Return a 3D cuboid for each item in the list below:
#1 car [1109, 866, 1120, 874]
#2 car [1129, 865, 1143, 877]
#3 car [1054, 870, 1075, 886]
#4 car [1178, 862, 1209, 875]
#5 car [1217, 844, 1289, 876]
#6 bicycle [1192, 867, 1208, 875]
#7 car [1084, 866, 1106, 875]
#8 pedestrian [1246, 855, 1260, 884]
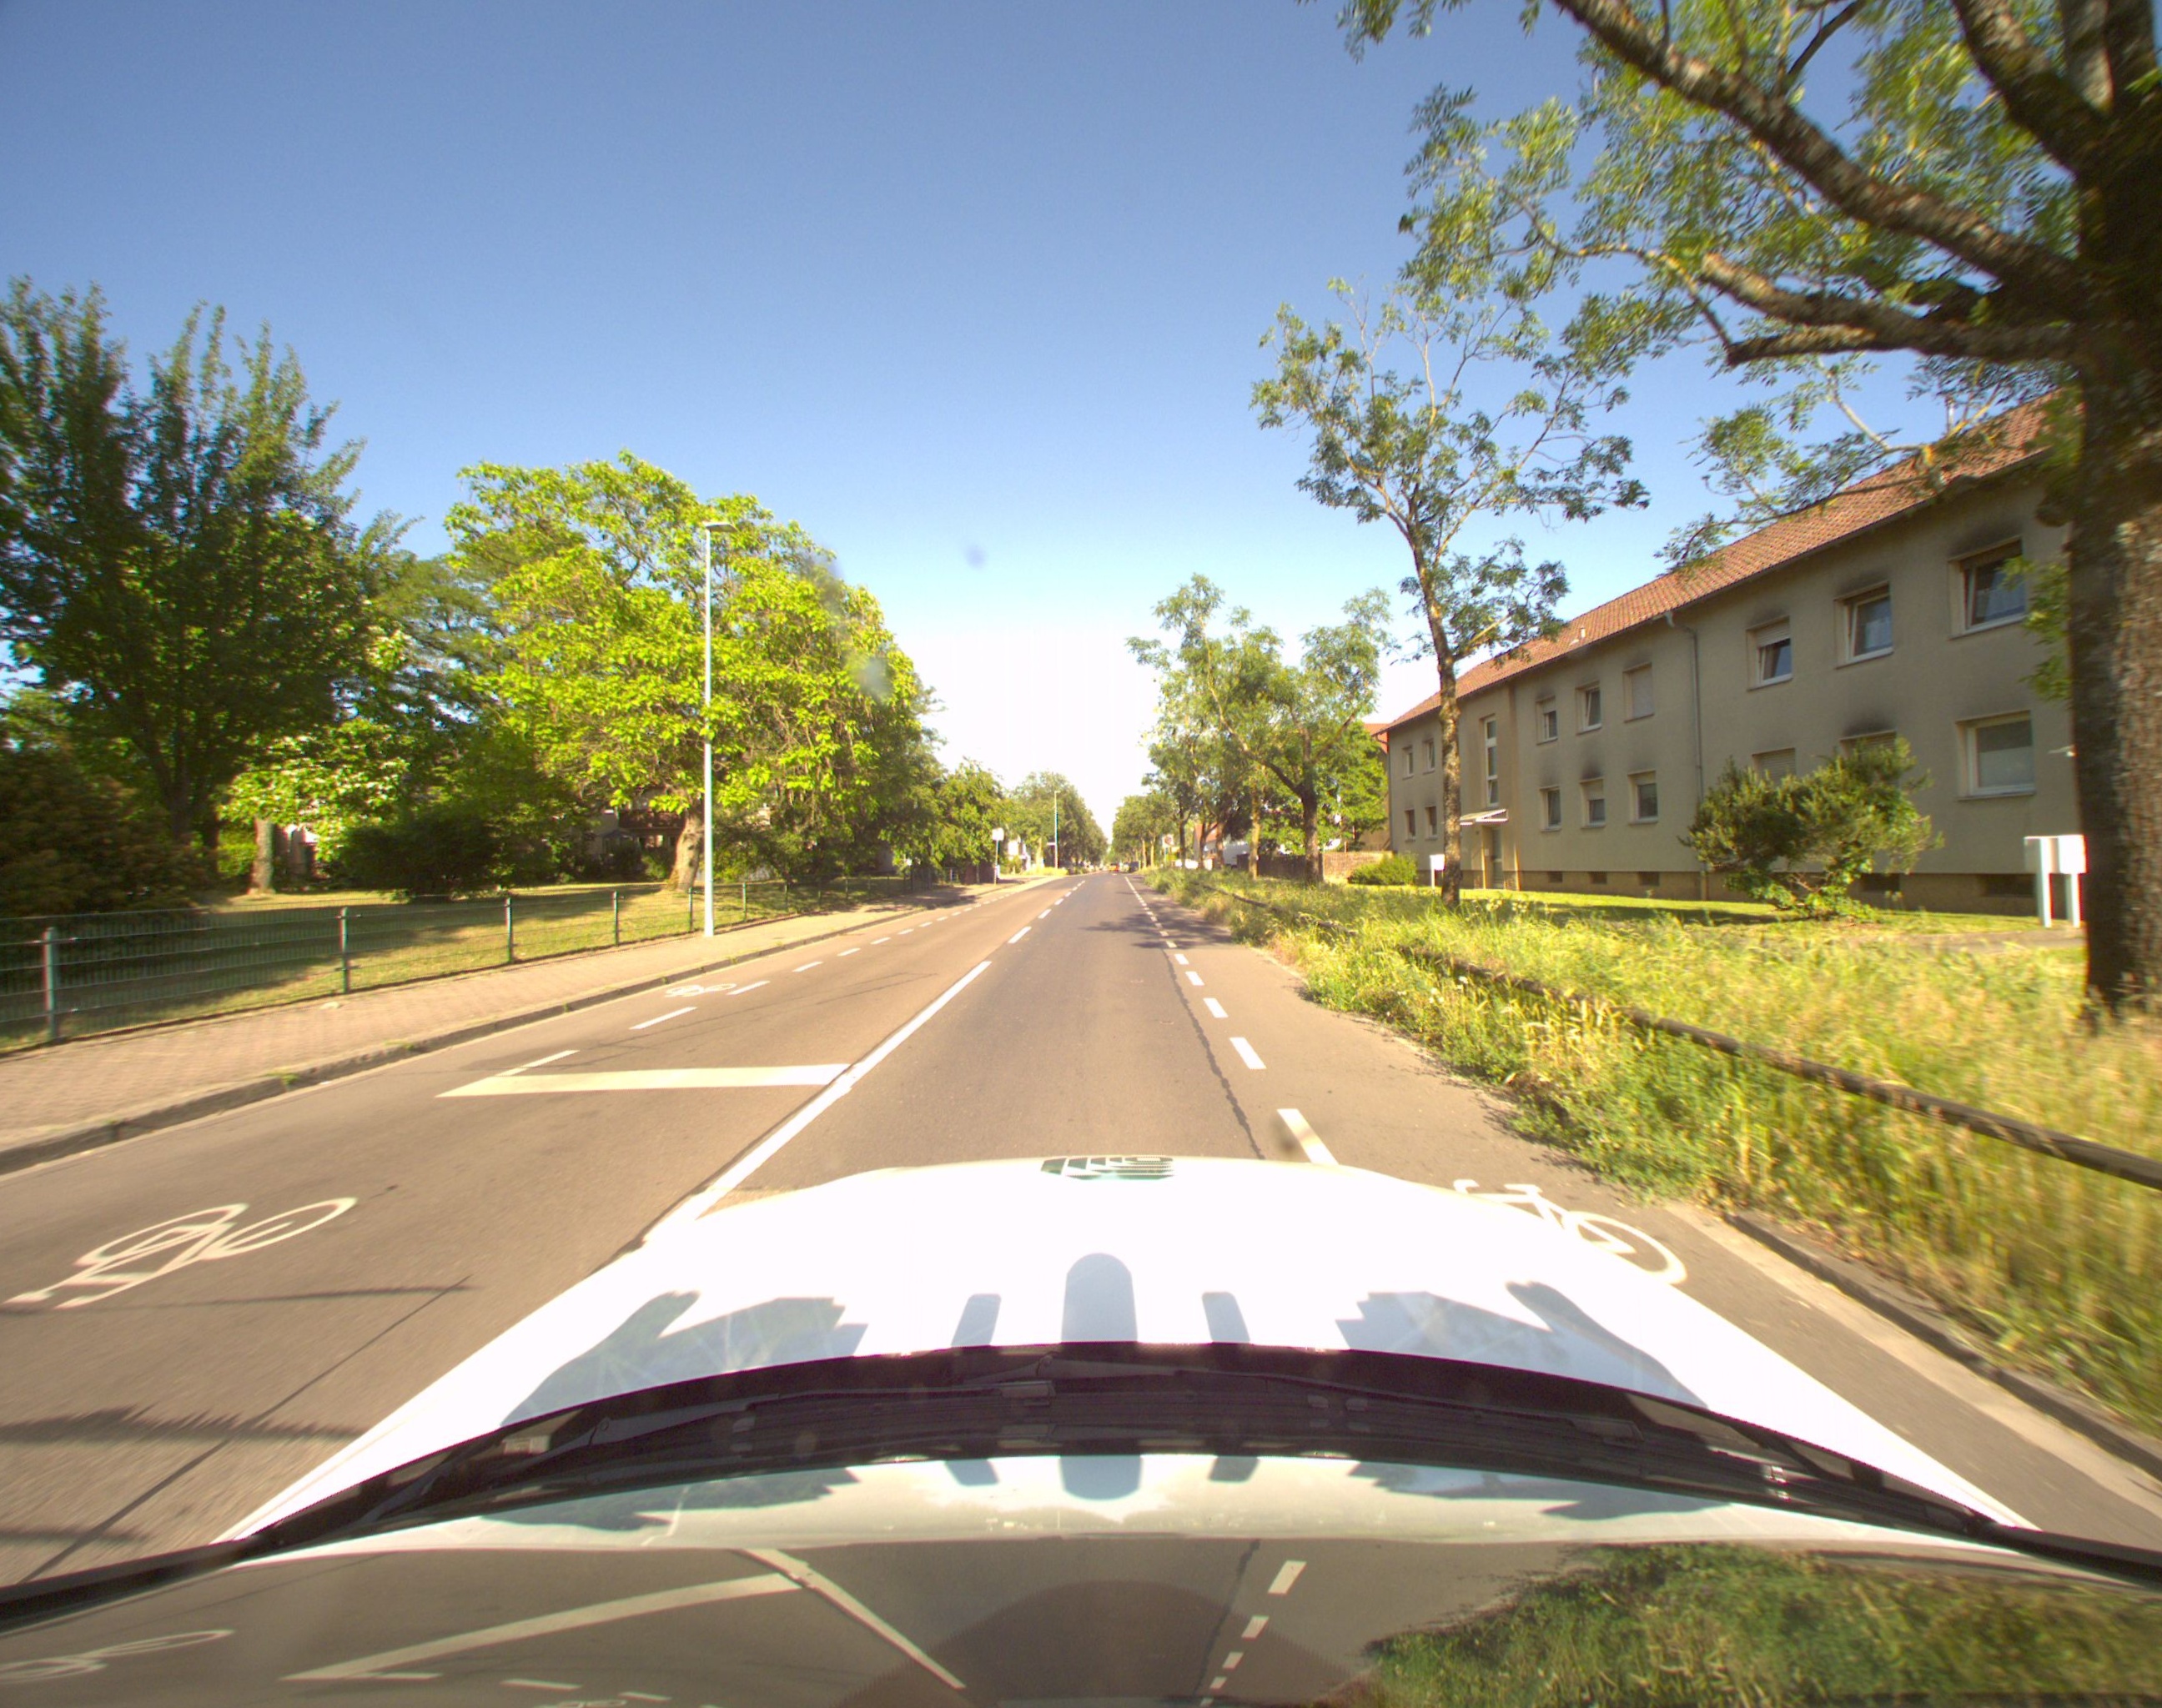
[{"bbox_3d":[6.019,2.856,145.806,1.882,1.479,3.886,1,-2,0],"label":"car"},{"bbox_3d":[8.143,2.548,119.820,1.846,1.626,4.471,-3,-2,2],"label":"car"},{"bbox_3d":[-1.861,2.747,92.602,1.945,1.727,4.878,0,-2,3],"label":"car"},{"bbox_3d":[15.395,1.989,111.551,3.973,1.489,1.902,-3,0,0],"label":"car"},{"bbox_3d":[14.422,0.527,68.614,5.578,2.539,2.264,-1,-1,-1],"label":"car"},{"bbox_3d":[15.826,2.250,108.353,1.951,0.998,0.576,-3,0,0],"label":"bicycle"},{"bbox_3d":[3.465,4.024,202.038,5.480,2.247,2.517,0,0,0],"label":"car"},{"bbox_3d":[10.410,0.958,49.403,0.634,1.706,0.612,-4,0,1],"label":"pedestrian"}]
